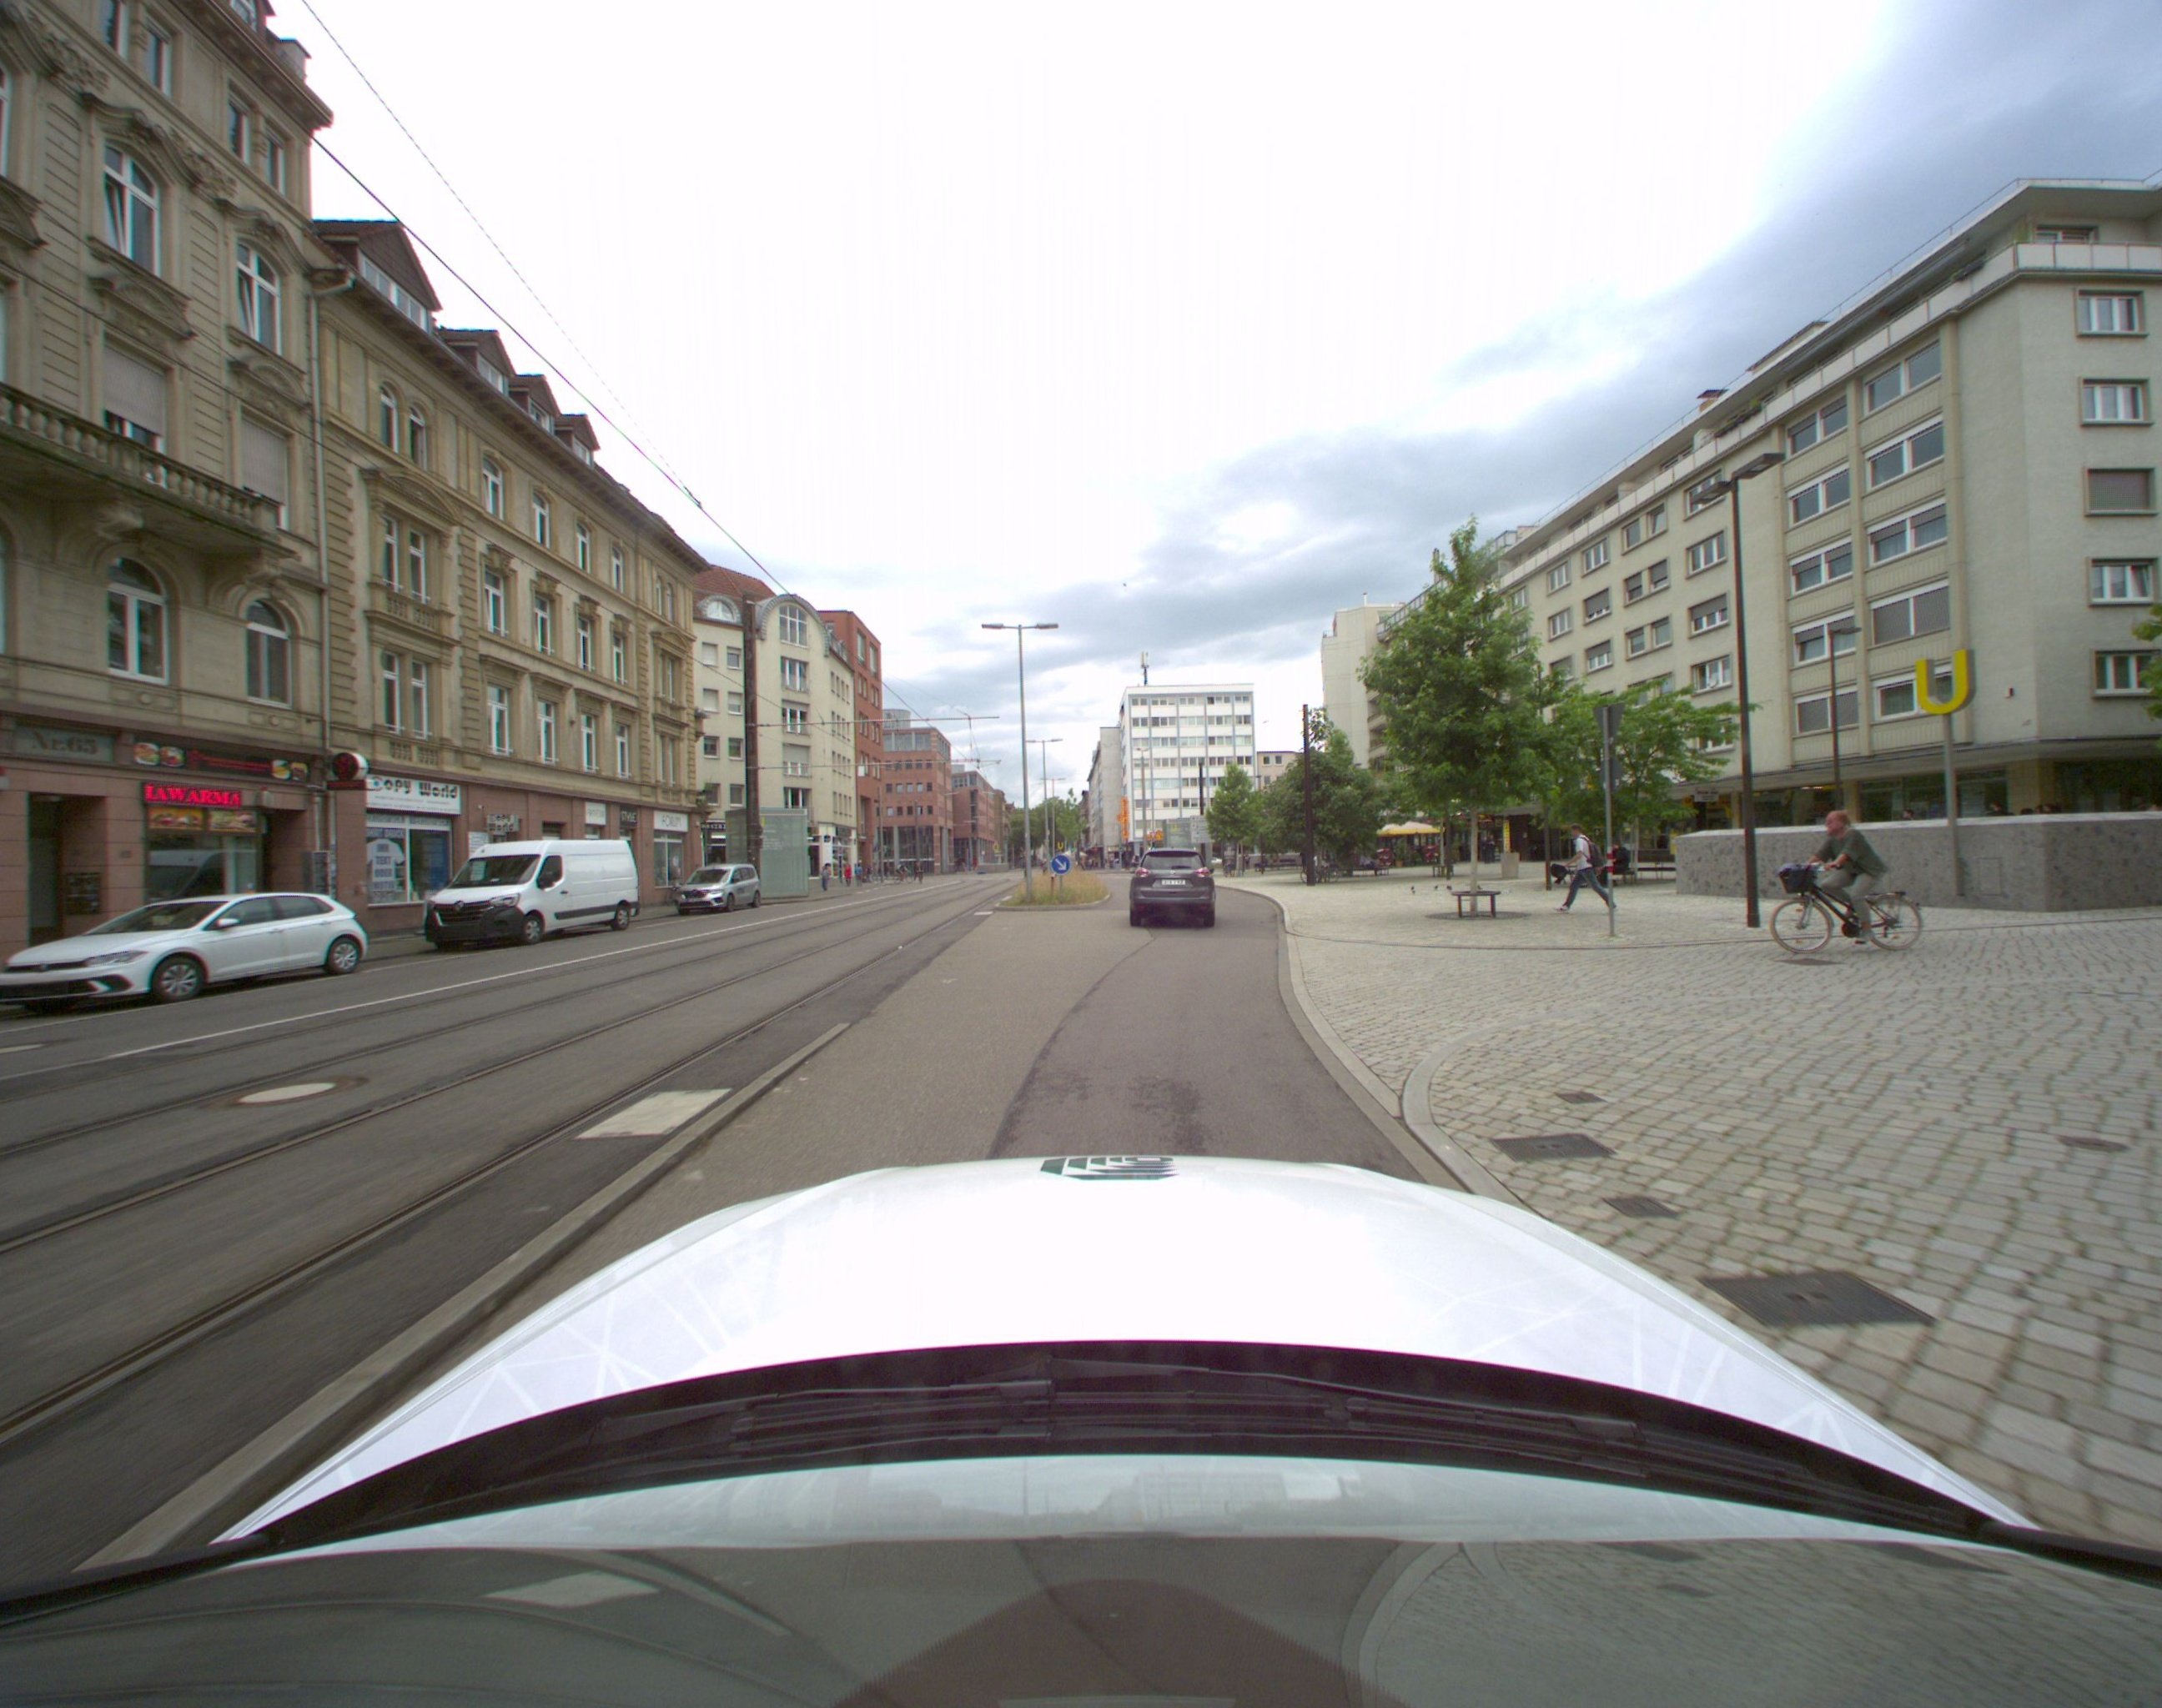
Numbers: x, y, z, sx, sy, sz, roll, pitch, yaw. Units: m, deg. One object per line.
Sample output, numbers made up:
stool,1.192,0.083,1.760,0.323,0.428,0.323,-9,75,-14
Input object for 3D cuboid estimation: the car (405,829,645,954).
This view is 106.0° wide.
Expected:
car,-13.272,0.817,20.047,2.048,2.487,5.660,-4,0,-3

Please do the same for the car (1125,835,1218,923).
car,2.016,0.561,18.919,1.855,1.775,4.571,-1,-1,4

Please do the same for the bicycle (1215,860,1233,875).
bicycle,9.847,0.944,56.022,0.652,0.978,1.765,-3,-1,27

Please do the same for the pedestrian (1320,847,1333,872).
pedestrian,13.794,0.313,45.781,0.623,1.366,0.923,-1,-1,16

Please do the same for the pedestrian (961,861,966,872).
pedestrian,-20.433,2.183,141.577,0.736,1.842,0.696,-1,-1,-26

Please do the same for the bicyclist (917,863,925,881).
bicyclist,-12.791,1.435,64.944,0.480,1.407,0.807,-2,-1,-19

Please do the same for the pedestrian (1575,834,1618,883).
pedestrian,15.915,0.143,25.146,0.783,1.455,0.761,-4,-1,-31

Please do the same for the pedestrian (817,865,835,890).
pedestrian,-17.054,1.567,54.461,0.714,1.687,0.829,-3,-2,18

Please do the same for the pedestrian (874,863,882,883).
pedestrian,-17.370,1.656,69.617,0.568,1.684,0.797,0,-2,-6

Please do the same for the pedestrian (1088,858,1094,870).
pedestrian,1.376,1.401,114.644,0.732,1.746,0.661,-1,-1,-10

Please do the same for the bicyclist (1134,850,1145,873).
bicyclist,4.698,0.601,65.108,0.831,1.812,0.877,-1,-1,1

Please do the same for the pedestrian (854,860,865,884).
pedestrian,-15.964,1.321,58.620,0.660,1.687,0.720,-2,-2,-11

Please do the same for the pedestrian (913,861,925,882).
pedestrian,-14.382,1.542,72.239,0.895,1.890,0.798,0,-2,-4

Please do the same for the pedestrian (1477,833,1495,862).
pedestrian,25.036,-0.413,50.311,0.766,1.751,0.722,-5,-1,37

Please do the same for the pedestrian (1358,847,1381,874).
pedestrian,14.991,0.346,42.337,0.626,1.366,1.408,-1,-1,-2

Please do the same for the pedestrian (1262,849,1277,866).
pedestrian,15.481,0.270,66.985,1.040,1.297,0.733,-4,-1,3

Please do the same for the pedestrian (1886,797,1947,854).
pedestrian,27.248,-0.928,26.573,0.771,1.772,1.062,-3,0,-13

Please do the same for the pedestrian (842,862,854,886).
pedestrian,-16.780,1.463,58.678,0.721,1.687,0.659,-2,-2,-12

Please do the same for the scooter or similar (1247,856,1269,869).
scooter or similar,14.585,0.729,67.193,1.571,0.948,0.729,-4,-1,36

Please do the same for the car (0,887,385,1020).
car,-13.076,1.332,12.203,1.767,1.423,4.160,-4,0,-3

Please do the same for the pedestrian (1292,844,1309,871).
pedestrian,15.283,0.278,56.831,0.712,1.802,1.077,-5,-1,-3

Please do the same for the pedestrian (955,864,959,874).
pedestrian,-18.312,2.200,120.478,0.450,1.532,0.519,-1,-1,-19

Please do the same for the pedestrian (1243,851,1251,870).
pedestrian,15.373,0.630,75.232,0.666,1.761,0.644,-1,-1,14

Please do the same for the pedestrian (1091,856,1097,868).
pedestrian,1.887,1.151,117.066,0.712,1.832,1.013,-1,-1,-9

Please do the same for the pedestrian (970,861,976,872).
pedestrian,-18.854,2.206,142.332,0.694,1.842,0.738,-1,-1,18

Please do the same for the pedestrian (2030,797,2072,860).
pedestrian,27.787,-0.734,23.336,0.584,1.768,0.647,-2,0,34

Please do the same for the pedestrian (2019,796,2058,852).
pedestrian,27.914,-0.872,23.738,0.594,1.586,0.636,-3,0,-34

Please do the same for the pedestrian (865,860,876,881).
pedestrian,-17.473,1.384,67.579,0.870,1.687,0.658,-2,-2,-17

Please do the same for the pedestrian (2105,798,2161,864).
pedestrian,27.378,-0.603,21.190,0.637,1.670,0.594,-2,0,14

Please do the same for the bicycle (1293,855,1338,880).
bicycle,10.840,0.632,37.687,1.902,1.123,0.647,-1,-1,9

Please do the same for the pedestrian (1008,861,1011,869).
pedestrian,-15.346,2.469,175.530,0.600,1.714,0.653,-1,-1,-9

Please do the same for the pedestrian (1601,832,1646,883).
pedestrian,16.200,0.111,24.337,0.783,1.455,0.761,-4,-1,-31

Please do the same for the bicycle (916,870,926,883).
bicycle,-12.797,1.822,65.022,0.480,1.021,1.900,-2,-1,-19

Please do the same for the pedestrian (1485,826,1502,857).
pedestrian,25.963,-0.783,51.243,0.766,1.885,0.858,-2,-1,37

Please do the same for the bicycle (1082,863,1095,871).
bicycle,1.032,1.815,115.127,1.697,1.065,0.435,-1,-1,-13

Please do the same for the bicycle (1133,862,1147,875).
bicycle,4.708,1.145,65.115,0.898,1.045,3.278,-2,-1,1

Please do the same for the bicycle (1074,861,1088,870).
bicycle,0.014,1.599,115.341,1.871,1.172,0.528,-1,-1,-16

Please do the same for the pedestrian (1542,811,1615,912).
pedestrian,9.879,0.146,16.189,0.867,1.901,0.772,-3,0,-3

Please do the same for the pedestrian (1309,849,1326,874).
pedestrian,13.125,0.406,45.219,0.630,1.366,0.683,-1,-1,-20

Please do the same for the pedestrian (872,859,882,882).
pedestrian,-15.466,1.275,61.849,0.661,1.687,0.719,-2,-2,-14

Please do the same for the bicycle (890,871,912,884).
bicycle,-15.149,1.944,68.596,1.889,1.021,0.480,-3,-1,23

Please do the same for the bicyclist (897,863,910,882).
bicyclist,-14.931,1.545,68.499,0.802,1.540,0.495,-3,-1,22

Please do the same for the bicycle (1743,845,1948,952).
bicycle,9.717,0.564,10.402,1.924,1.260,0.526,-2,-1,7

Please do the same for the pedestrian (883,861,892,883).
pedestrian,-17.305,1.621,72.731,0.609,1.890,0.798,-2,-2,-4

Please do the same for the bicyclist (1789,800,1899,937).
bicyclist,9.727,0.187,10.401,0.786,1.684,0.572,-2,-1,7

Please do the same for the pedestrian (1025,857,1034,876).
pedestrian,-4.717,1.137,74.383,0.742,1.684,0.797,0,-2,-6

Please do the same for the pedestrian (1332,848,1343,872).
pedestrian,14.508,0.342,46.028,0.538,1.366,1.285,-1,-1,16

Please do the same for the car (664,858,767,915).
car,-13.581,1.151,30.574,1.898,1.864,4.515,-4,-1,-3

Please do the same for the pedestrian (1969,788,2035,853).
pedestrian,28.191,-1.023,24.937,0.773,1.901,1.060,-3,0,-19
